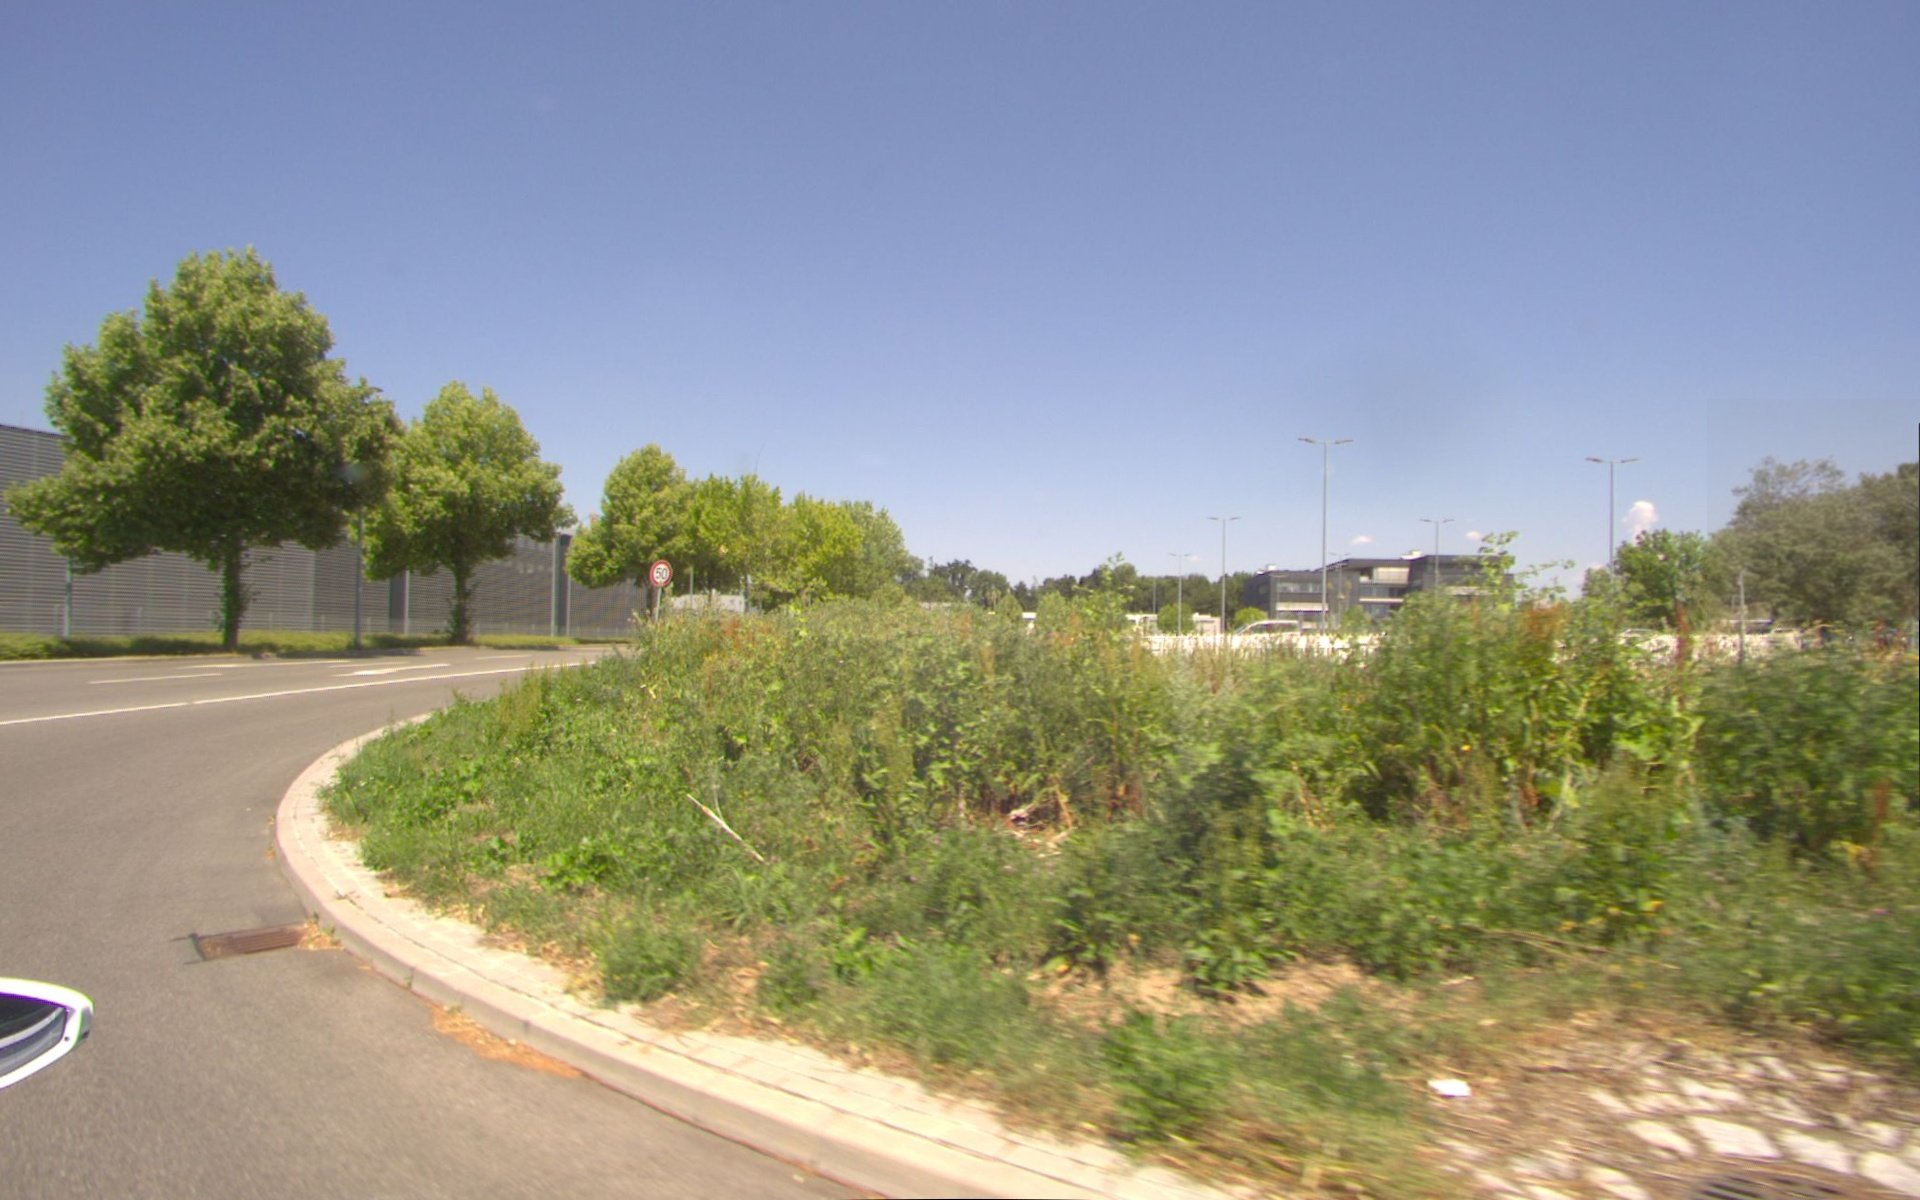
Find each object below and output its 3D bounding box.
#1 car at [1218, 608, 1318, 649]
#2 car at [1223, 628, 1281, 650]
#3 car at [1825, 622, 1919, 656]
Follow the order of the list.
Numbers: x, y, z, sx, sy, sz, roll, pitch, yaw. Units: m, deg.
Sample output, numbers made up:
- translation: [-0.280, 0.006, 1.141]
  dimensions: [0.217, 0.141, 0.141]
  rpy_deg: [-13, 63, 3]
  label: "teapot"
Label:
- translation: [15.233, 1.428, 49.633]
  dimensions: [4.390, 1.939, 1.940]
  rpy_deg: [-1, -1, 4]
  label: "car"
- translation: [22.277, 2.989, 76.469]
  dimensions: [3.922, 1.661, 1.928]
  rpy_deg: [0, -3, 6]
  label: "car"
- translation: [48.907, 2.051, 53.436]
  dimensions: [3.923, 1.662, 1.999]
  rpy_deg: [-1, 1, -6]
  label: "car"
